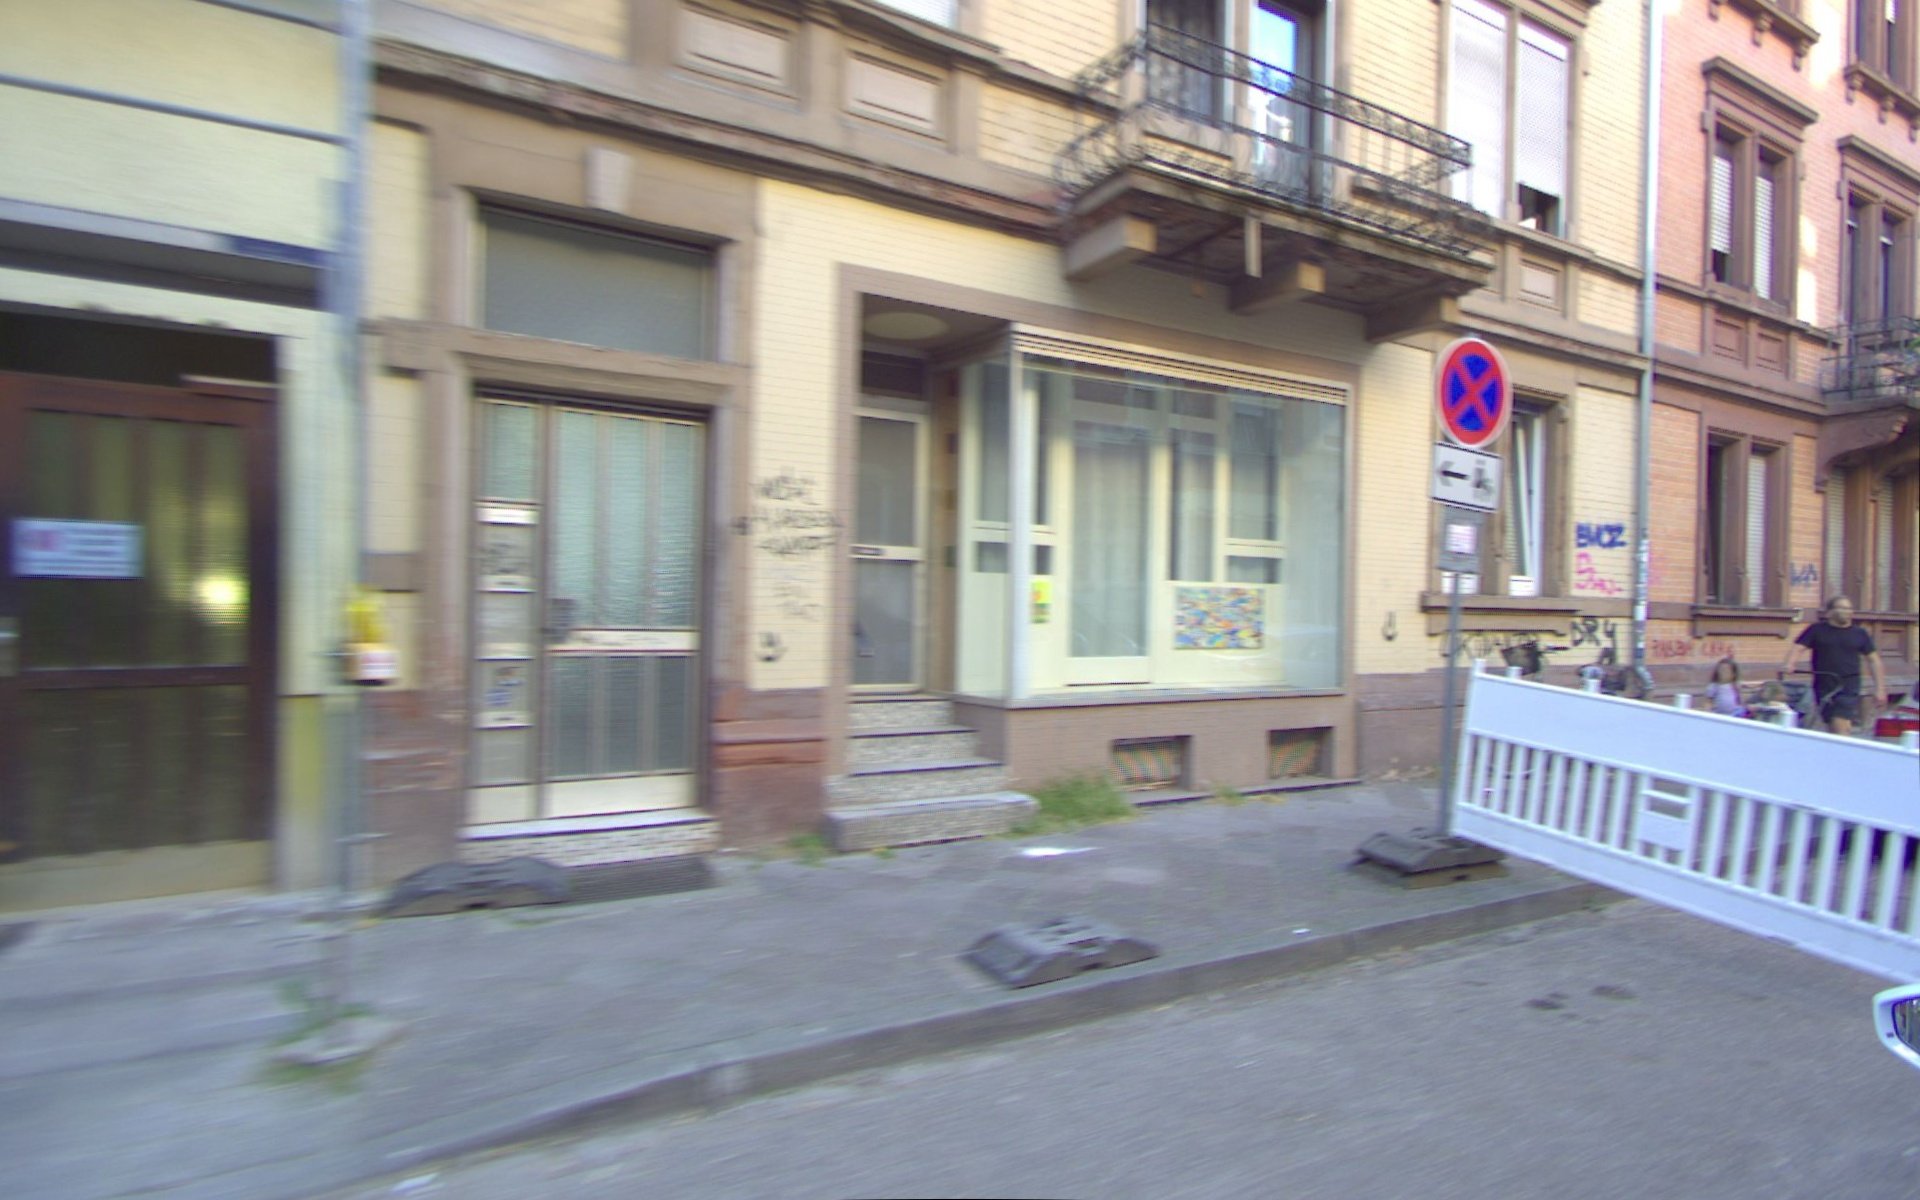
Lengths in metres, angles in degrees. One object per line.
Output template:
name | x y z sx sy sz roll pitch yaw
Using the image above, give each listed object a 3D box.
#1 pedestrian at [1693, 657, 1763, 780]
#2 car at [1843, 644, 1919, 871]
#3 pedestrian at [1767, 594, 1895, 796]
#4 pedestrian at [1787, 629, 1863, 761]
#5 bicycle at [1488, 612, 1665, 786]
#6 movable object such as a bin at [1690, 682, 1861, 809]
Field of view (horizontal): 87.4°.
pedestrian | 7.219 1.096 9.446 0.427 1.101 0.391 1 0 -34
car | 8.035 1.033 6.992 3.953 1.437 1.666 1 -2 -30
pedestrian | 8.203 0.855 9.465 0.877 1.788 0.681 1 0 -32
pedestrian | 8.985 0.977 10.443 0.387 1.324 0.432 1 0 -2
bicycle | 5.613 0.864 9.123 1.691 1.444 0.522 2 3 -29
movable object such as a bin | 7.211 1.242 8.876 1.399 0.944 0.757 1 -1 -32
